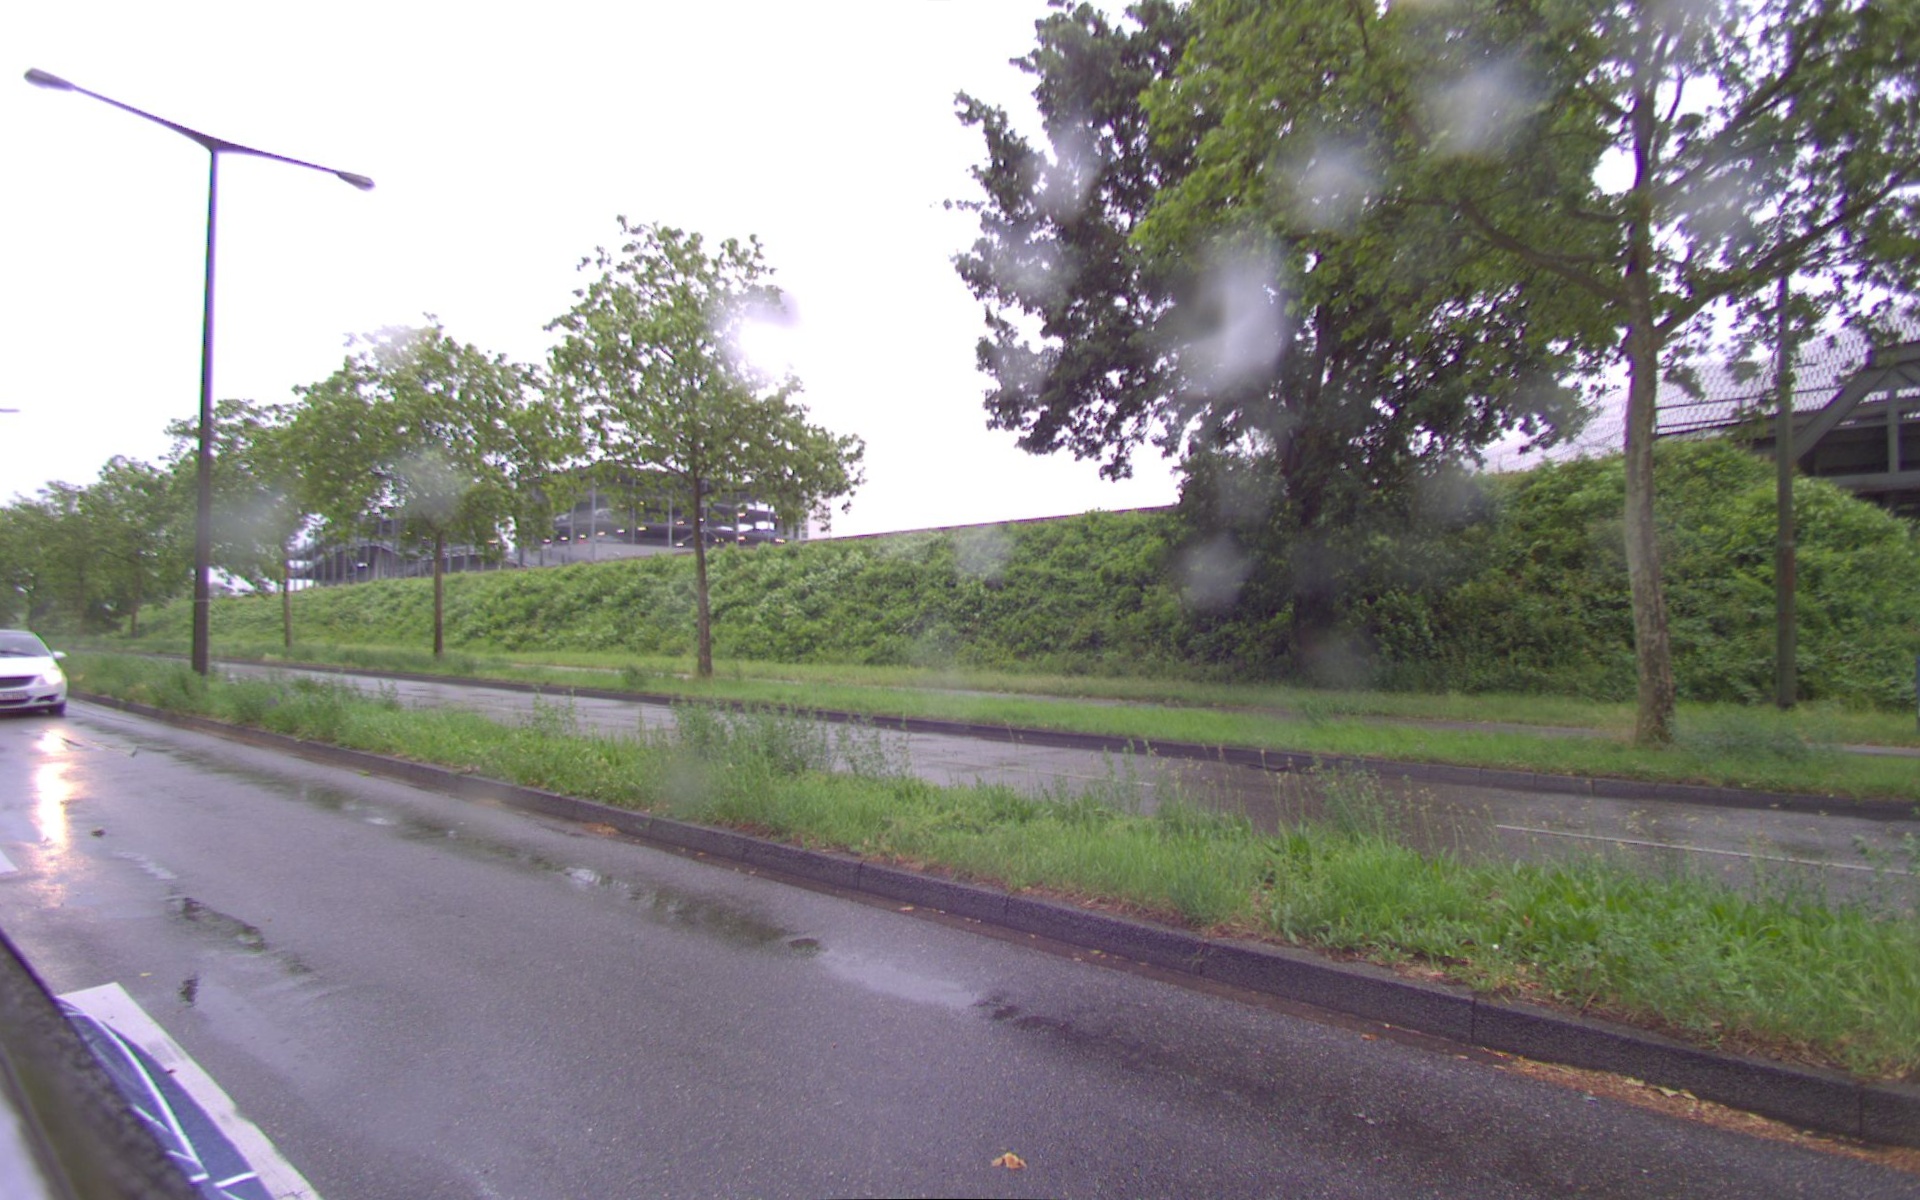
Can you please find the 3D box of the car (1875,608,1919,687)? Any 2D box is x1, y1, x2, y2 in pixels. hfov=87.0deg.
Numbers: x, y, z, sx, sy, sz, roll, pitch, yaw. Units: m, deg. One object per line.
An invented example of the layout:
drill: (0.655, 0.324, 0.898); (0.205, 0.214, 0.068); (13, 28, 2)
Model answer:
car: (33.178, 1.531, 32.122); (2.358, 2.631, 6.965); (0, -2, 6)

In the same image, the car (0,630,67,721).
car: (-16.448, 1.224, 16.991); (4.008, 1.387, 1.661); (-2, -1, 41)
